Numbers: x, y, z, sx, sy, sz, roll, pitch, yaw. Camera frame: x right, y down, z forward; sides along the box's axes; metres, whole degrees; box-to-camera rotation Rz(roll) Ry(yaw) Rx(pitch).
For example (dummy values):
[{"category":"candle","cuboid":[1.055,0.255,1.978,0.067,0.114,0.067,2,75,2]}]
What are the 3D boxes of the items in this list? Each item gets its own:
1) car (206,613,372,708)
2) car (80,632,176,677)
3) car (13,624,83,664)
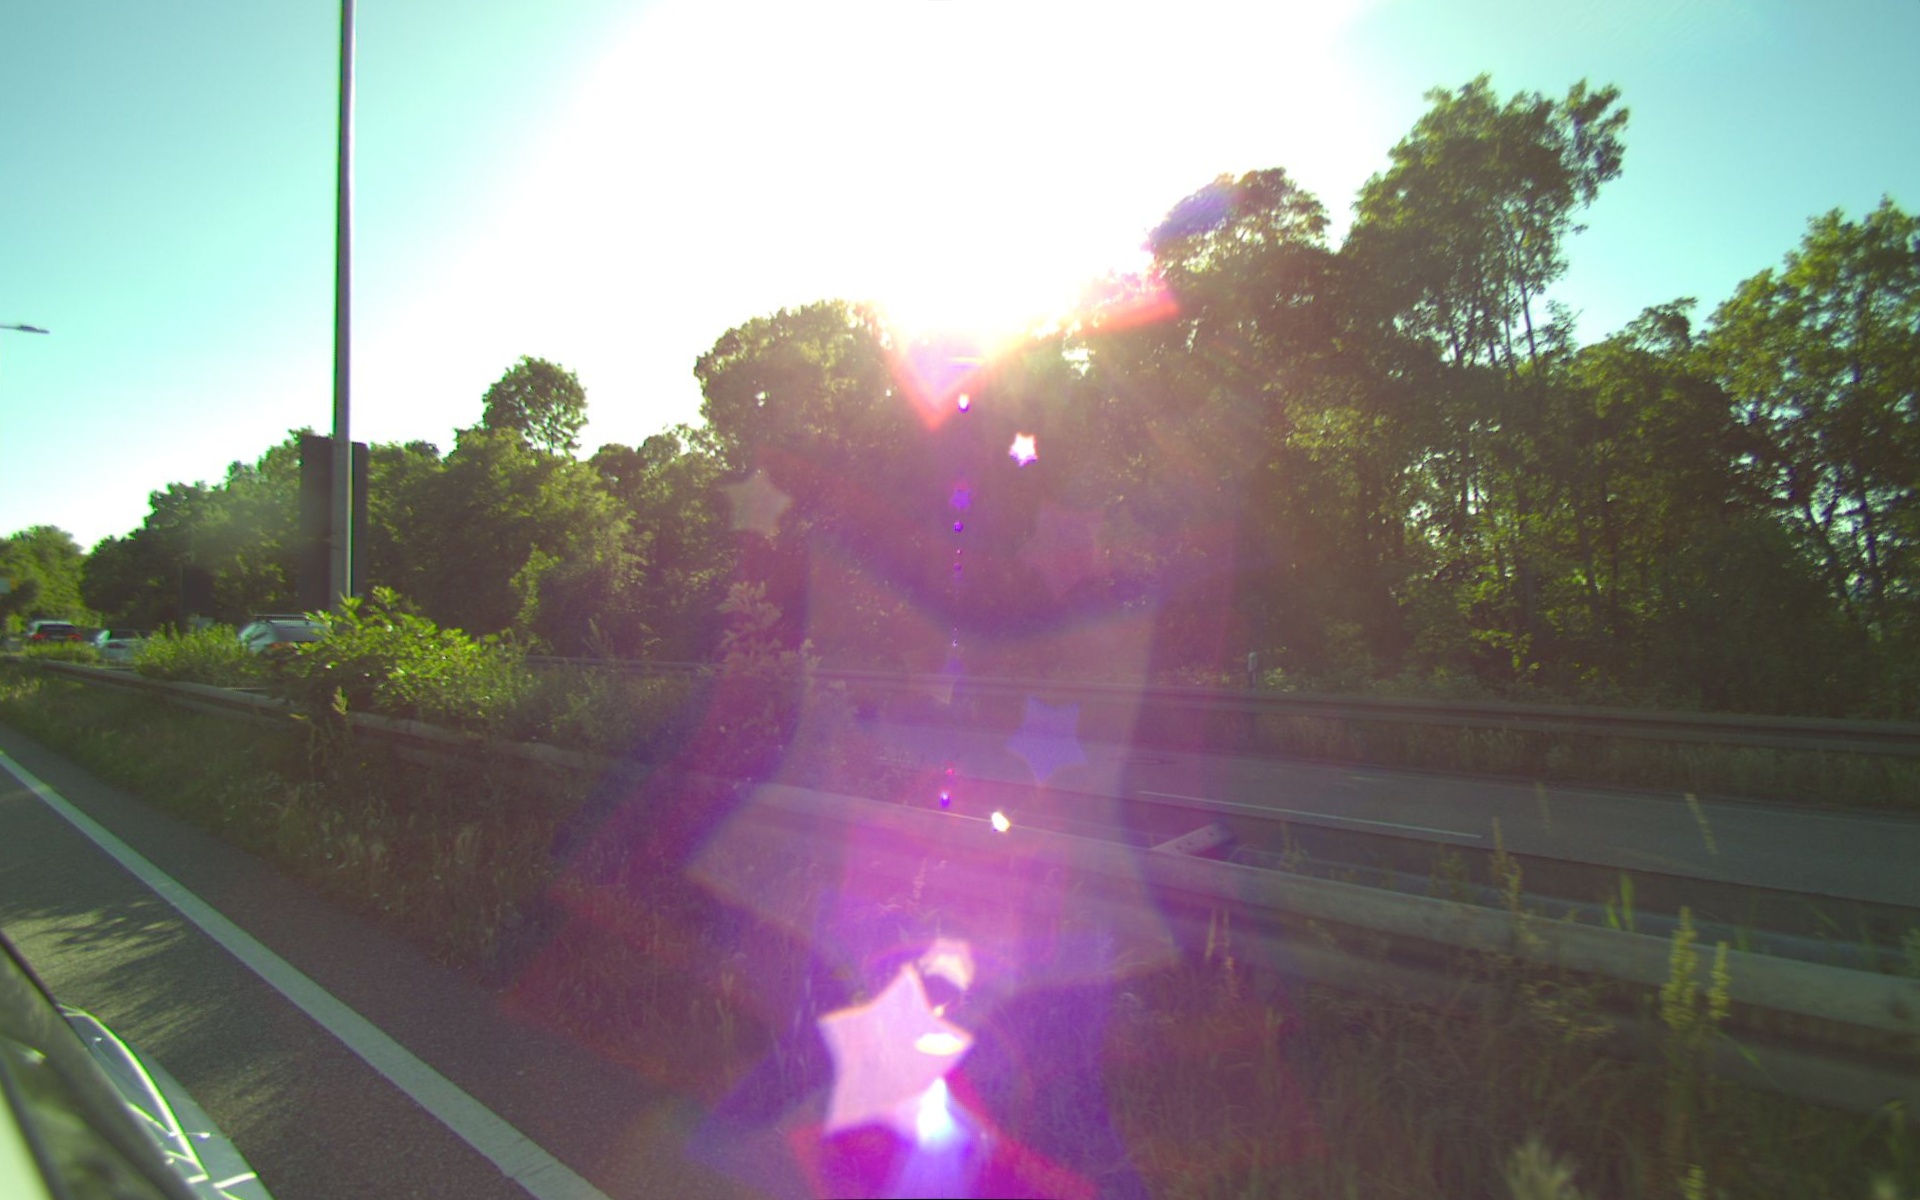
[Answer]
[{"category":"car","cuboid":[-14.130,1.204,21.223,4.336,1.785,1.815,-2,-2,41]},{"category":"car","cuboid":[-27.663,1.758,33.607,4.460,1.367,1.754,-2,-2,41]},{"category":"car","cuboid":[-41.512,2.007,46.025,4.545,1.723,1.766,-2,-4,41]}]
